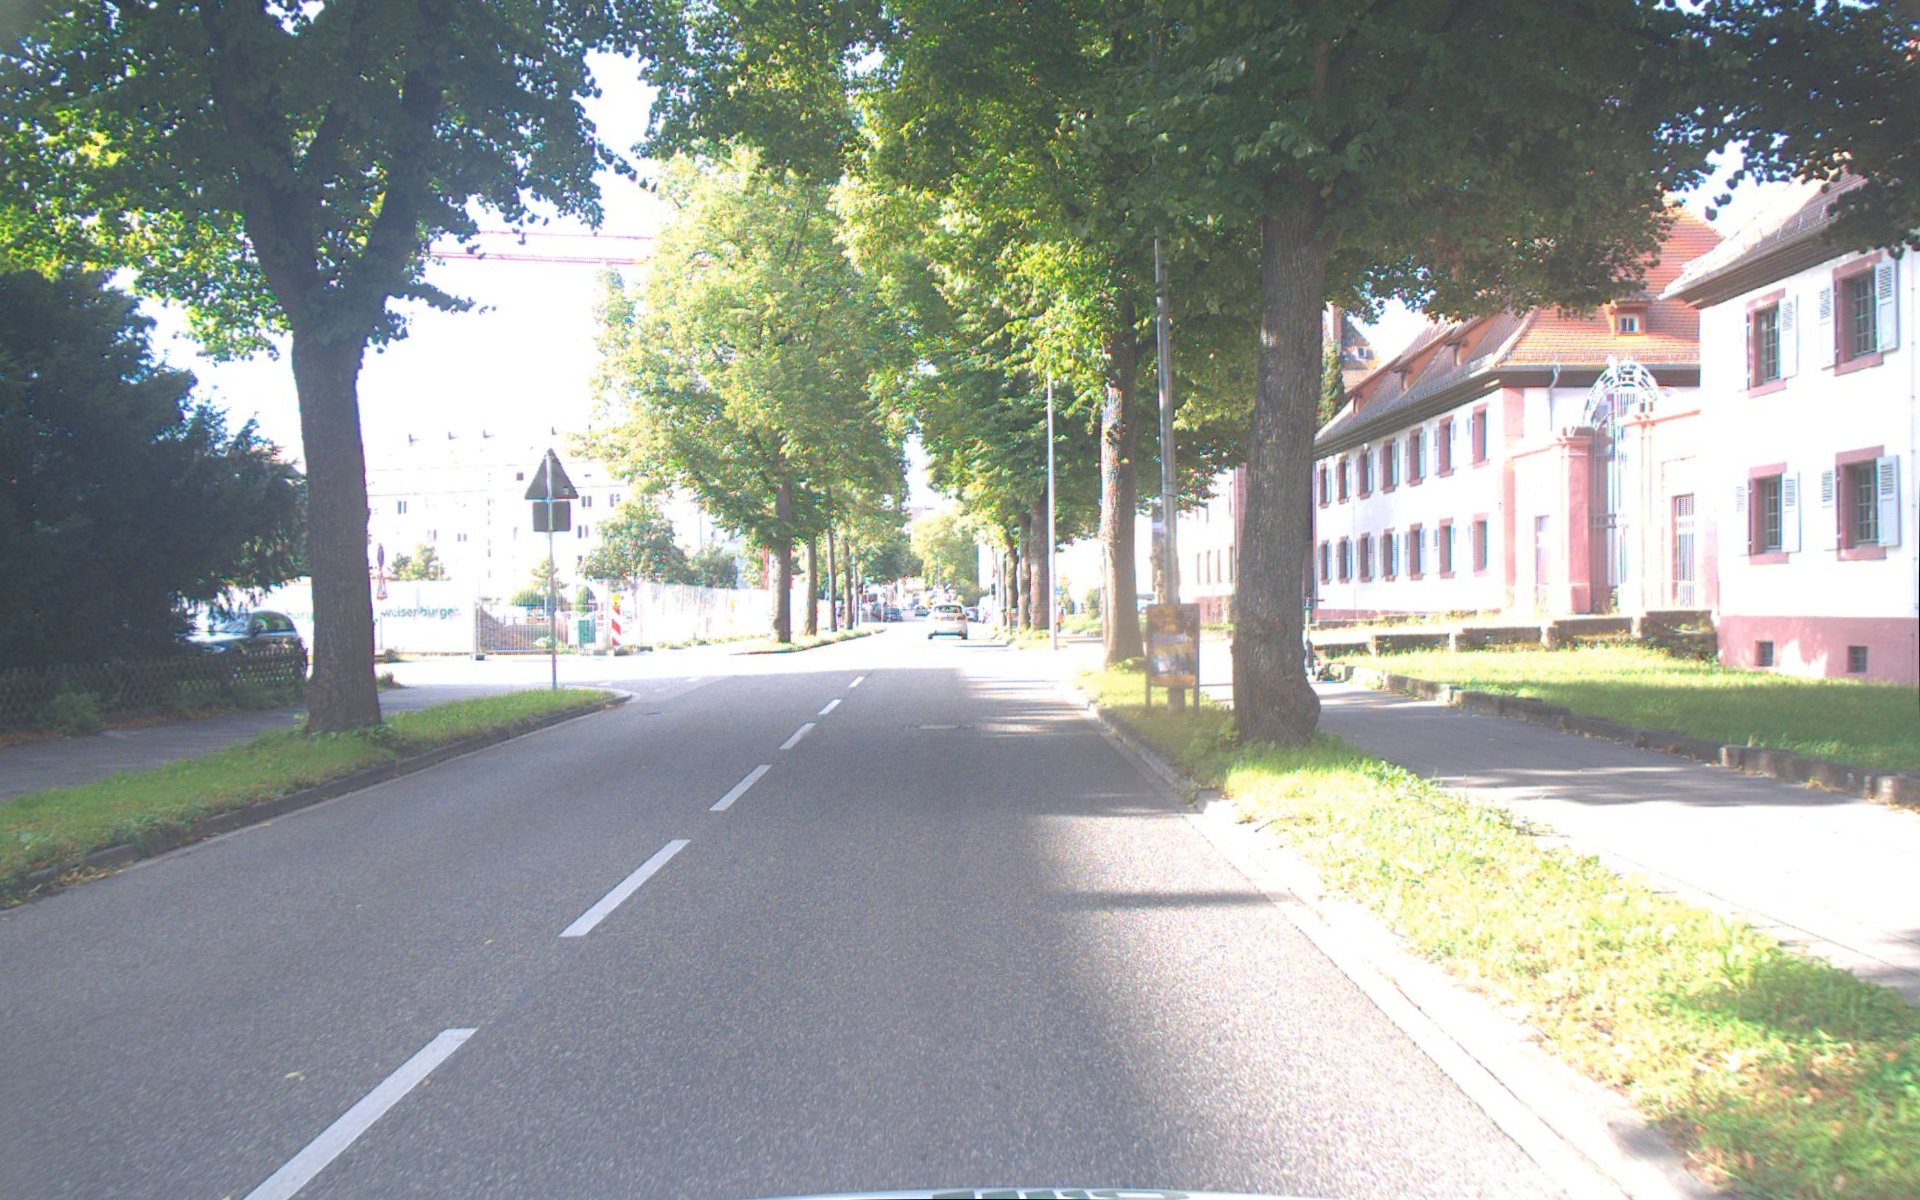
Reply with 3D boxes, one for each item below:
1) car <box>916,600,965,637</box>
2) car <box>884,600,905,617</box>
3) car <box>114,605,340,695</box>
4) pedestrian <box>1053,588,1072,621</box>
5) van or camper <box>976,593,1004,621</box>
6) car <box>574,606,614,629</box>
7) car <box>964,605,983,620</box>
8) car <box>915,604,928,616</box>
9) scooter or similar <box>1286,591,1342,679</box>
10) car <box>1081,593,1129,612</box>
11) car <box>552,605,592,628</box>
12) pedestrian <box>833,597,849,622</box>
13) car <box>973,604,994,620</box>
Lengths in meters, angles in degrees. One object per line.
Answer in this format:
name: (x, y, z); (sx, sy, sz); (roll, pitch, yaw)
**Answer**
car: (-0.875, 0.818, 73.060); (1.954, 1.582, 4.270); (0, -1, -3)
car: (-6.947, 0.882, 175.655); (1.955, 1.668, 3.994); (-1, 0, -7)
car: (-13.128, 0.892, 29.958); (1.952, 1.454, 4.508); (-1, -1, 2)
pedestrian: (5.162, 0.220, 83.045); (0.797, 1.618, 0.769); (-3, -1, -1)
van or camper: (2.869, 0.671, 159.398); (2.166, 2.653, 5.366); (-1, 0, -4)
car: (-34.031, 1.573, 153.916); (1.951, 2.049, 4.003); (-1, 0, 14)
car: (1.455, 1.367, 180.869); (1.953, 1.601, 3.999); (-2, 0, -1)
car: (-5.811, 1.529, 249.165); (1.953, 1.786, 4.000); (0, -1, 0)
scooter or similar: (5.488, 0.529, 25.680); (0.567, 1.314, 1.381); (-1, 0, 1)
car: (13.519, 0.225, 154.362); (4.355, 1.650, 2.001); (-2, 0, 3)
car: (-36.325, 1.547, 154.814); (1.951, 2.049, 4.003); (-1, 0, 14)
pedestrian: (-8.600, 0.688, 119.749); (0.989, 1.758, 1.174); (0, -2, -13)
car: (2.442, 1.227, 170.328); (1.953, 1.601, 3.999); (-2, 0, -1)
